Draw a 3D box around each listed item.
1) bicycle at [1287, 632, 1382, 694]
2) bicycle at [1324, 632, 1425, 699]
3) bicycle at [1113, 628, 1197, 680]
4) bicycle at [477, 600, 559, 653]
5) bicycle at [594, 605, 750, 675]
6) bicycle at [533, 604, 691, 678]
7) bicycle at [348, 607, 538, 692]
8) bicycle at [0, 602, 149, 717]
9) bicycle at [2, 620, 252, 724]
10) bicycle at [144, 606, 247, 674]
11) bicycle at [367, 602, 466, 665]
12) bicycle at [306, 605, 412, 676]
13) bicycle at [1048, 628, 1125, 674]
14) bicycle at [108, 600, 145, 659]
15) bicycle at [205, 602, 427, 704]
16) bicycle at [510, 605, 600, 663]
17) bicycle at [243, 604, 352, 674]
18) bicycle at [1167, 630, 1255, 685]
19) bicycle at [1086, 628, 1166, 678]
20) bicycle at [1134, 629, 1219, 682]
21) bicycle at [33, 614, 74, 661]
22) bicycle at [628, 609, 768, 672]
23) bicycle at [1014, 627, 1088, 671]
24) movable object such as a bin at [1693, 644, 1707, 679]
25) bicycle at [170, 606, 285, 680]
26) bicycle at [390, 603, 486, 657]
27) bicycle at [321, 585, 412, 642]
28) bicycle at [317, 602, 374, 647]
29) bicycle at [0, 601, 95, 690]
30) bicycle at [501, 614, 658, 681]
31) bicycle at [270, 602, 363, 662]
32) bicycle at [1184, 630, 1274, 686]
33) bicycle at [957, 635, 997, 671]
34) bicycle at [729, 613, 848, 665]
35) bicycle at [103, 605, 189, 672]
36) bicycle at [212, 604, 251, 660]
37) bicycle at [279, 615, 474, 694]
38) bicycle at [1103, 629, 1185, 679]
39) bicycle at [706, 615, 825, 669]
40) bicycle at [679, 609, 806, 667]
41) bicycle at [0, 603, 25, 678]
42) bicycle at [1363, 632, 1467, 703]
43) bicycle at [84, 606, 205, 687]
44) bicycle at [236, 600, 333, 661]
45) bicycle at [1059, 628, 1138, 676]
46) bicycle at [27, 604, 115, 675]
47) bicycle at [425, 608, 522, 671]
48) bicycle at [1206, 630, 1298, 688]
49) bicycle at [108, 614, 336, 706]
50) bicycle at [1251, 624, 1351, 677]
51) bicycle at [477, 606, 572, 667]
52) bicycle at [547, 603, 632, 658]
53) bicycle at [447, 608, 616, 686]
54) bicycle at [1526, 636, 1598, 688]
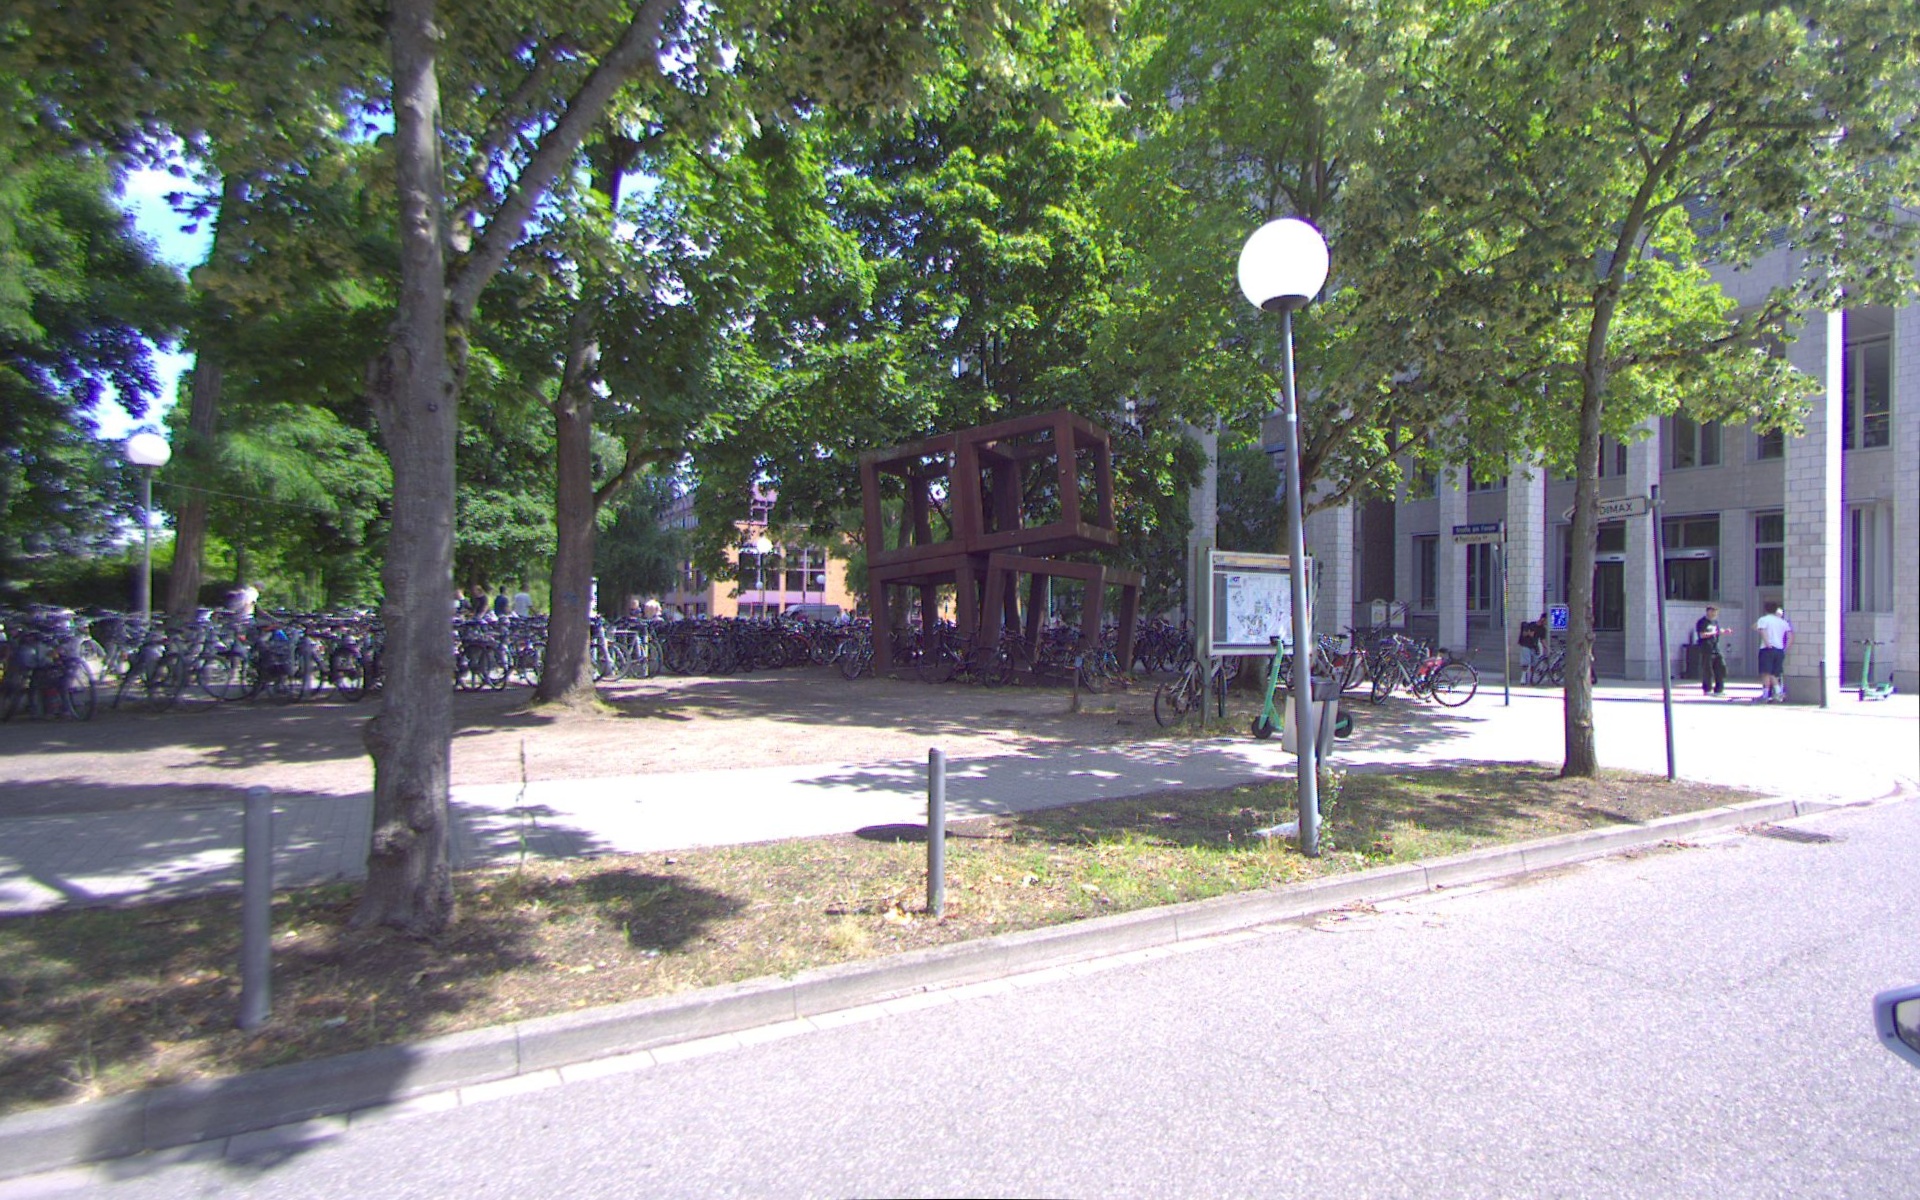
[{"bbox_3d":[7.033,1.162,18.831,1.950,1.101,0.549,1,1,-30],"label":"bicycle"},{"bbox_3d":[7.321,1.129,17.715,1.950,1.101,0.549,1,1,-30],"label":"bicycle"},{"bbox_3d":[4.376,1.206,22.488,1.950,1.101,0.549,1,1,-30],"label":"bicycle"},{"bbox_3d":[-10.716,0.623,24.339,2.022,1.147,0.639,3,2,25],"label":"bicycle"},{"bbox_3d":[-5.809,0.781,20.257,3.022,1.314,0.883,1,0,18],"label":"bicycle"},{"bbox_3d":[-6.616,0.755,19.100,2.875,1.304,0.883,1,0,18],"label":"bicycle"},{"bbox_3d":[-8.042,0.737,15.616,2.826,1.193,0.883,1,0,18],"label":"bicycle"},{"bbox_3d":[-10.028,0.582,10.648,2.696,1.101,0.883,1,0,18],"label":"bicycle"},{"bbox_3d":[-9.698,0.797,11.699,2.777,1.064,0.883,1,0,18],"label":"bicycle"},{"bbox_3d":[-13.974,0.705,18.346,2.022,1.147,0.639,1,1,25],"label":"bicycle"},{"bbox_3d":[-10.592,0.629,19.558,2.022,1.147,0.639,1,1,25],"label":"bicycle"},{"bbox_3d":[-11.031,0.717,18.416,2.022,1.147,0.639,3,2,25],"label":"bicycle"},{"bbox_3d":[3.180,1.265,25.145,1.950,1.101,0.549,1,1,-30],"label":"bicycle"},{"bbox_3d":[-18.213,0.615,21.939,1.772,1.223,0.421,1,0,44],"label":"bicycle"},{"bbox_3d":[-8.584,0.663,13.385,2.850,1.237,0.883,1,0,18],"label":"bicycle"},{"bbox_3d":[-9.139,0.754,22.650,2.022,1.147,0.674,4,2,25],"label":"bicycle"},{"bbox_3d":[-11.535,0.661,17.482,2.022,1.147,0.639,0,0,25],"label":"bicycle"},{"bbox_3d":[5.327,1.193,21.264,1.950,1.101,0.549,1,1,-30],"label":"bicycle"},{"bbox_3d":[3.908,1.231,23.588,1.950,1.101,0.549,1,1,-30],"label":"bicycle"},{"bbox_3d":[4.727,1.195,21.885,1.950,1.101,0.549,1,1,-30],"label":"bicycle"},{"bbox_3d":[-18.944,0.762,20.989,1.741,0.906,0.417,1,0,41],"label":"bicycle"},{"bbox_3d":[-5.595,0.842,21.404,2.902,1.141,0.743,3,1,18],"label":"bicycle"},{"bbox_3d":[2.382,1.279,26.246,1.950,1.101,0.549,1,1,-30],"label":"bicycle"},{"bbox_3d":[19.485,1.624,26.437,0.444,0.907,0.167,1,-1,-36],"label":"movable object such as a bin"},{"bbox_3d":[-12.016,0.676,16.462,2.022,1.147,0.639,0,0,25],"label":"bicycle"},{"bbox_3d":[-11.729,0.653,22.539,2.263,1.124,0.734,1,0,28],"label":"bicycle"},{"bbox_3d":[-12.585,0.273,21.293,2.022,1.147,0.639,1,1,25],"label":"bicycle"},{"bbox_3d":[-15.505,0.604,25.324,2.029,1.049,0.504,1,0,37],"label":"bicycle"},{"bbox_3d":[-13.175,0.610,14.230,2.022,1.173,0.639,1,1,25],"label":"bicycle"},{"bbox_3d":[-6.801,0.830,17.959,2.630,1.091,0.883,1,0,18],"label":"bicycle"},{"bbox_3d":[-13.187,0.636,20.563,2.022,1.147,0.639,1,1,25],"label":"bicycle"},{"bbox_3d":[5.536,1.177,20.633,1.950,1.101,0.549,1,1,-30],"label":"bicycle"},{"bbox_3d":[0.414,1.250,23.940,0.317,0.773,1.559,1,0,26],"label":"bicycle"},{"bbox_3d":[-4.232,0.933,24.767,2.853,1.171,0.743,1,0,18],"label":"bicycle"},{"bbox_3d":[-14.312,0.655,17.643,1.933,1.104,0.546,1,0,32],"label":"bicycle"},{"bbox_3d":[-17.031,0.726,23.460,1.772,1.223,0.421,1,0,44],"label":"bicycle"},{"bbox_3d":[-8.482,0.761,14.603,2.679,1.016,0.883,1,0,18],"label":"bicycle"},{"bbox_3d":[4.228,1.223,23.069,1.950,1.101,0.549,1,1,-30],"label":"bicycle"},{"bbox_3d":[-4.620,0.971,23.796,2.708,1.083,0.743,3,1,18],"label":"bicycle"},{"bbox_3d":[-4.893,0.836,22.595,2.781,1.249,0.743,0,-1,18],"label":"bicycle"},{"bbox_3d":[-15.194,0.596,15.550,1.933,1.104,0.546,1,0,32],"label":"bicycle"},{"bbox_3d":[7.619,1.104,16.791,1.950,1.101,0.549,1,1,-30],"label":"bicycle"},{"bbox_3d":[-12.543,0.684,15.440,2.022,1.147,0.639,1,1,25],"label":"bicycle"},{"bbox_3d":[-13.282,0.574,19.748,2.022,1.147,0.639,1,1,25],"label":"bicycle"},{"bbox_3d":[3.374,1.241,24.353,1.950,1.101,0.549,1,1,-30],"label":"bicycle"},{"bbox_3d":[-14.779,0.633,16.686,1.933,1.104,0.546,1,0,32],"label":"bicycle"},{"bbox_3d":[-9.901,0.773,20.434,2.021,1.147,0.639,3,1,25],"label":"bicycle"},{"bbox_3d":[5.855,1.168,20.118,1.950,1.101,0.549,1,1,-30],"label":"bicycle"},{"bbox_3d":[-9.311,0.724,12.665,2.728,1.028,0.883,1,0,18],"label":"bicycle"},{"bbox_3d":[8.474,1.236,25.127,0.871,1.215,2.738,1,-1,-18],"label":"bicycle"},{"bbox_3d":[-9.259,0.758,21.338,2.022,1.147,0.639,3,1,25],"label":"bicycle"},{"bbox_3d":[-8.824,0.712,23.901,2.022,1.147,0.639,3,2,25],"label":"bicycle"},{"bbox_3d":[-7.145,0.749,16.741,2.655,1.195,0.883,1,0,18],"label":"bicycle"},{"bbox_3d":[13.355,1.360,22.279,1.840,1.028,0.463,-1,2,-27],"label":"bicycle"}]
